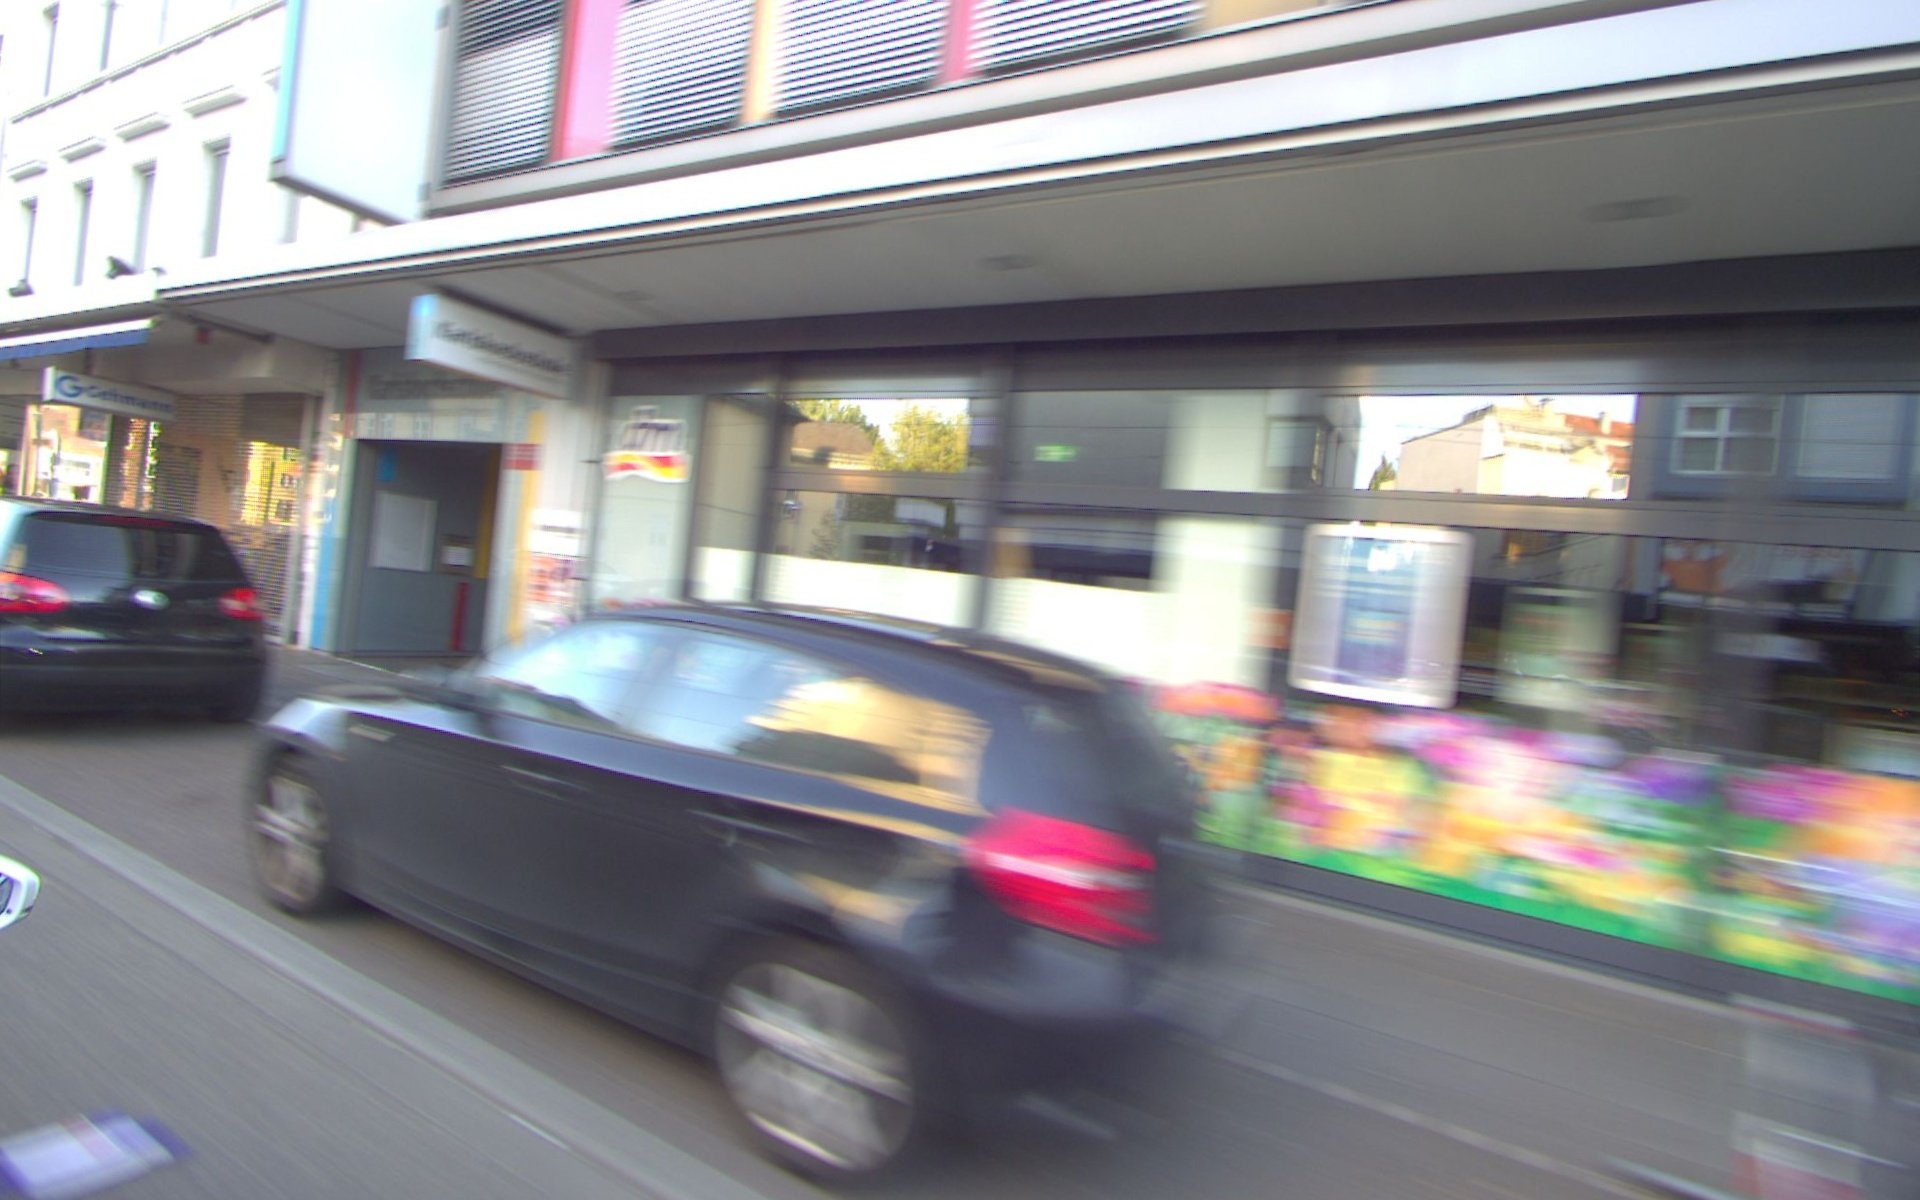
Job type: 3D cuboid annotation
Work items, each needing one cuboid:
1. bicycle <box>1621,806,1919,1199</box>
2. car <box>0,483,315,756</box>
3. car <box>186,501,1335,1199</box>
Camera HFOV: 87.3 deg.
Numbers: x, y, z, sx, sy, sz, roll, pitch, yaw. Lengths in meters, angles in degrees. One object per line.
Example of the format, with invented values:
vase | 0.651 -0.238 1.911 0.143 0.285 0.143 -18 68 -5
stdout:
bicycle | 1.939 1.173 2.082 0.665 1.152 1.889 7 0 28
car | -6.723 -0.049 7.350 4.098 1.531 1.721 7 1 32
car | -0.990 0.601 3.881 4.187 1.531 1.745 7 1 32
